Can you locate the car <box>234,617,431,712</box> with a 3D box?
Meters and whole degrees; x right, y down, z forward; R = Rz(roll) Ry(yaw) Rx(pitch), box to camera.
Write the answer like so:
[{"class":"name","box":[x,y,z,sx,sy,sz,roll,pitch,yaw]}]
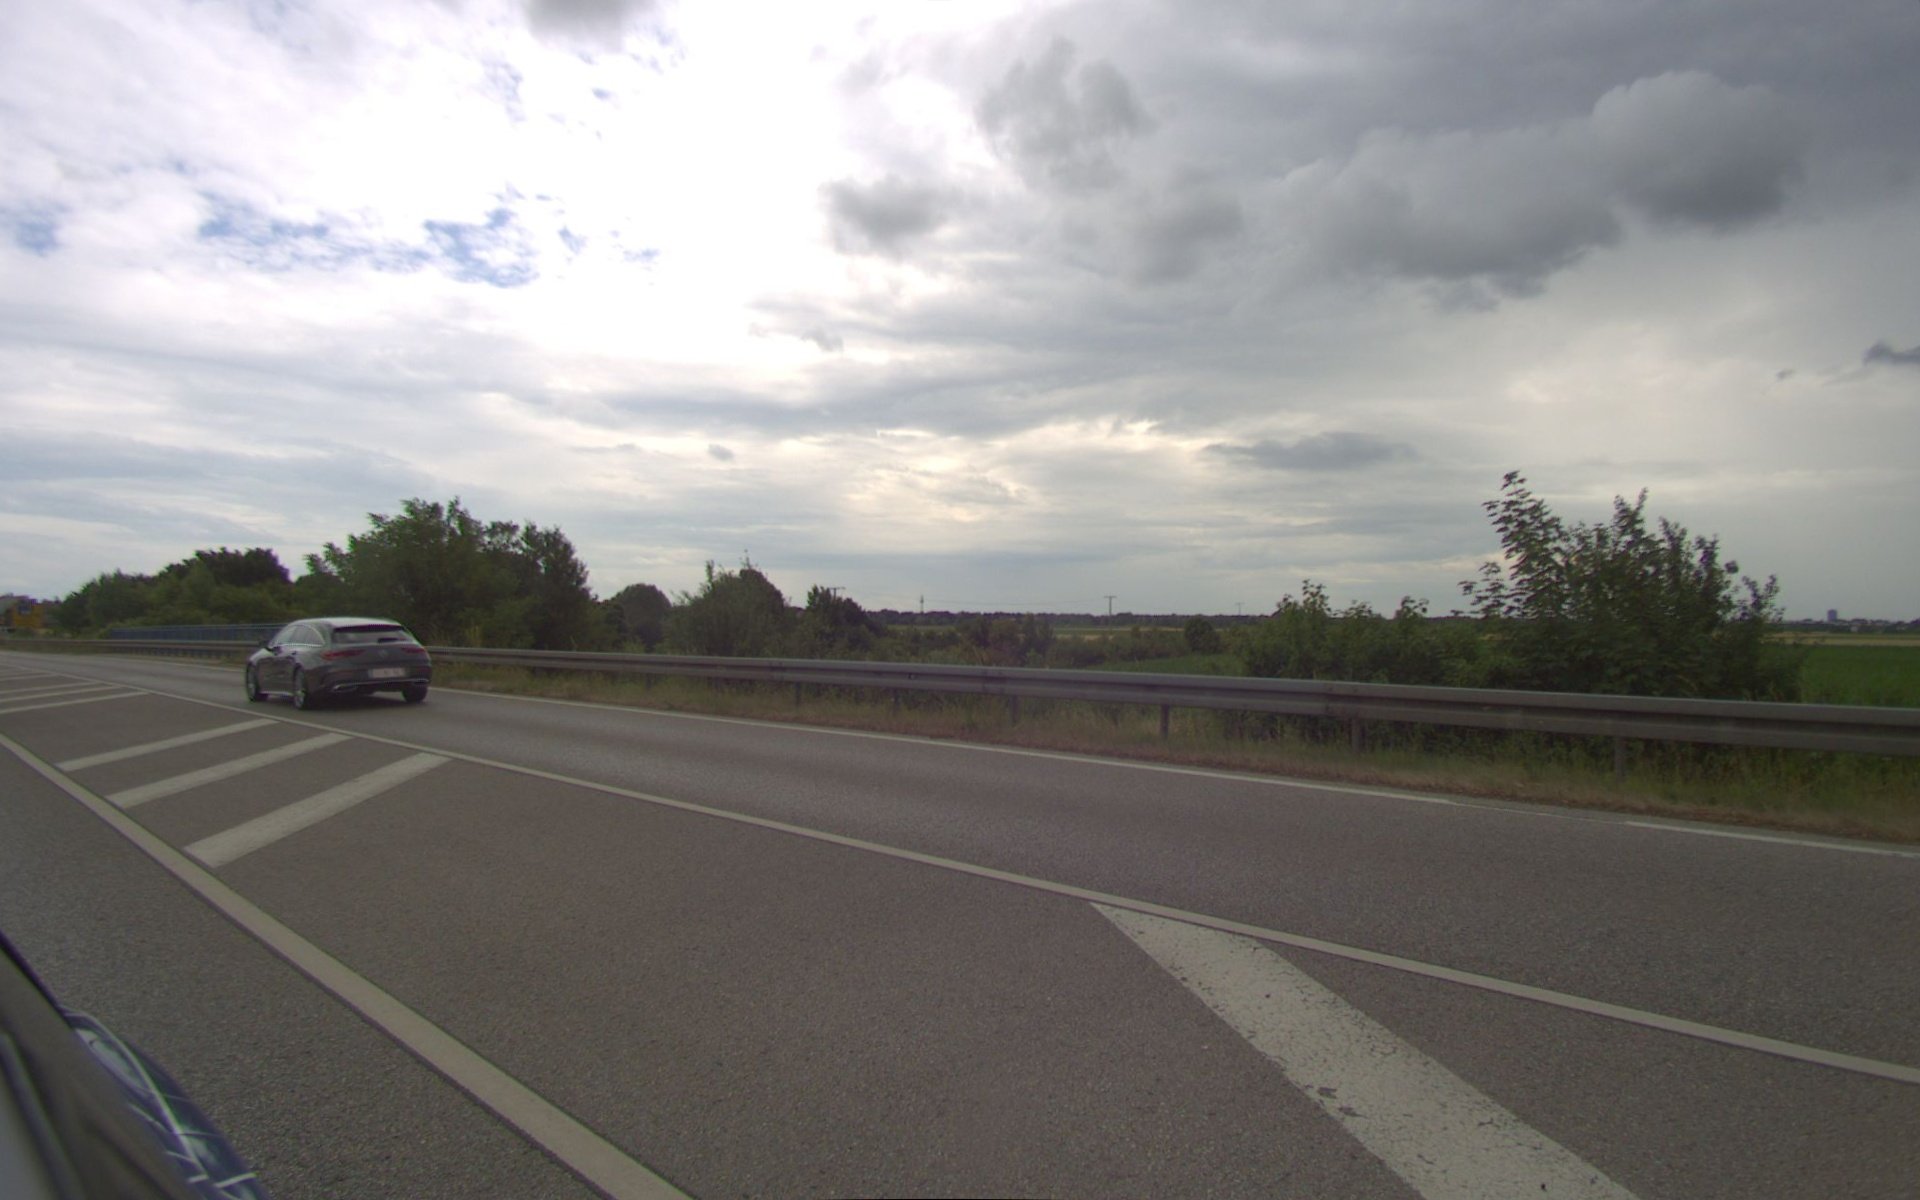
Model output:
[{"class":"car","box":[-10.636,0.994,17.012,4.510,1.390,1.605,-1,-1,42]}]
